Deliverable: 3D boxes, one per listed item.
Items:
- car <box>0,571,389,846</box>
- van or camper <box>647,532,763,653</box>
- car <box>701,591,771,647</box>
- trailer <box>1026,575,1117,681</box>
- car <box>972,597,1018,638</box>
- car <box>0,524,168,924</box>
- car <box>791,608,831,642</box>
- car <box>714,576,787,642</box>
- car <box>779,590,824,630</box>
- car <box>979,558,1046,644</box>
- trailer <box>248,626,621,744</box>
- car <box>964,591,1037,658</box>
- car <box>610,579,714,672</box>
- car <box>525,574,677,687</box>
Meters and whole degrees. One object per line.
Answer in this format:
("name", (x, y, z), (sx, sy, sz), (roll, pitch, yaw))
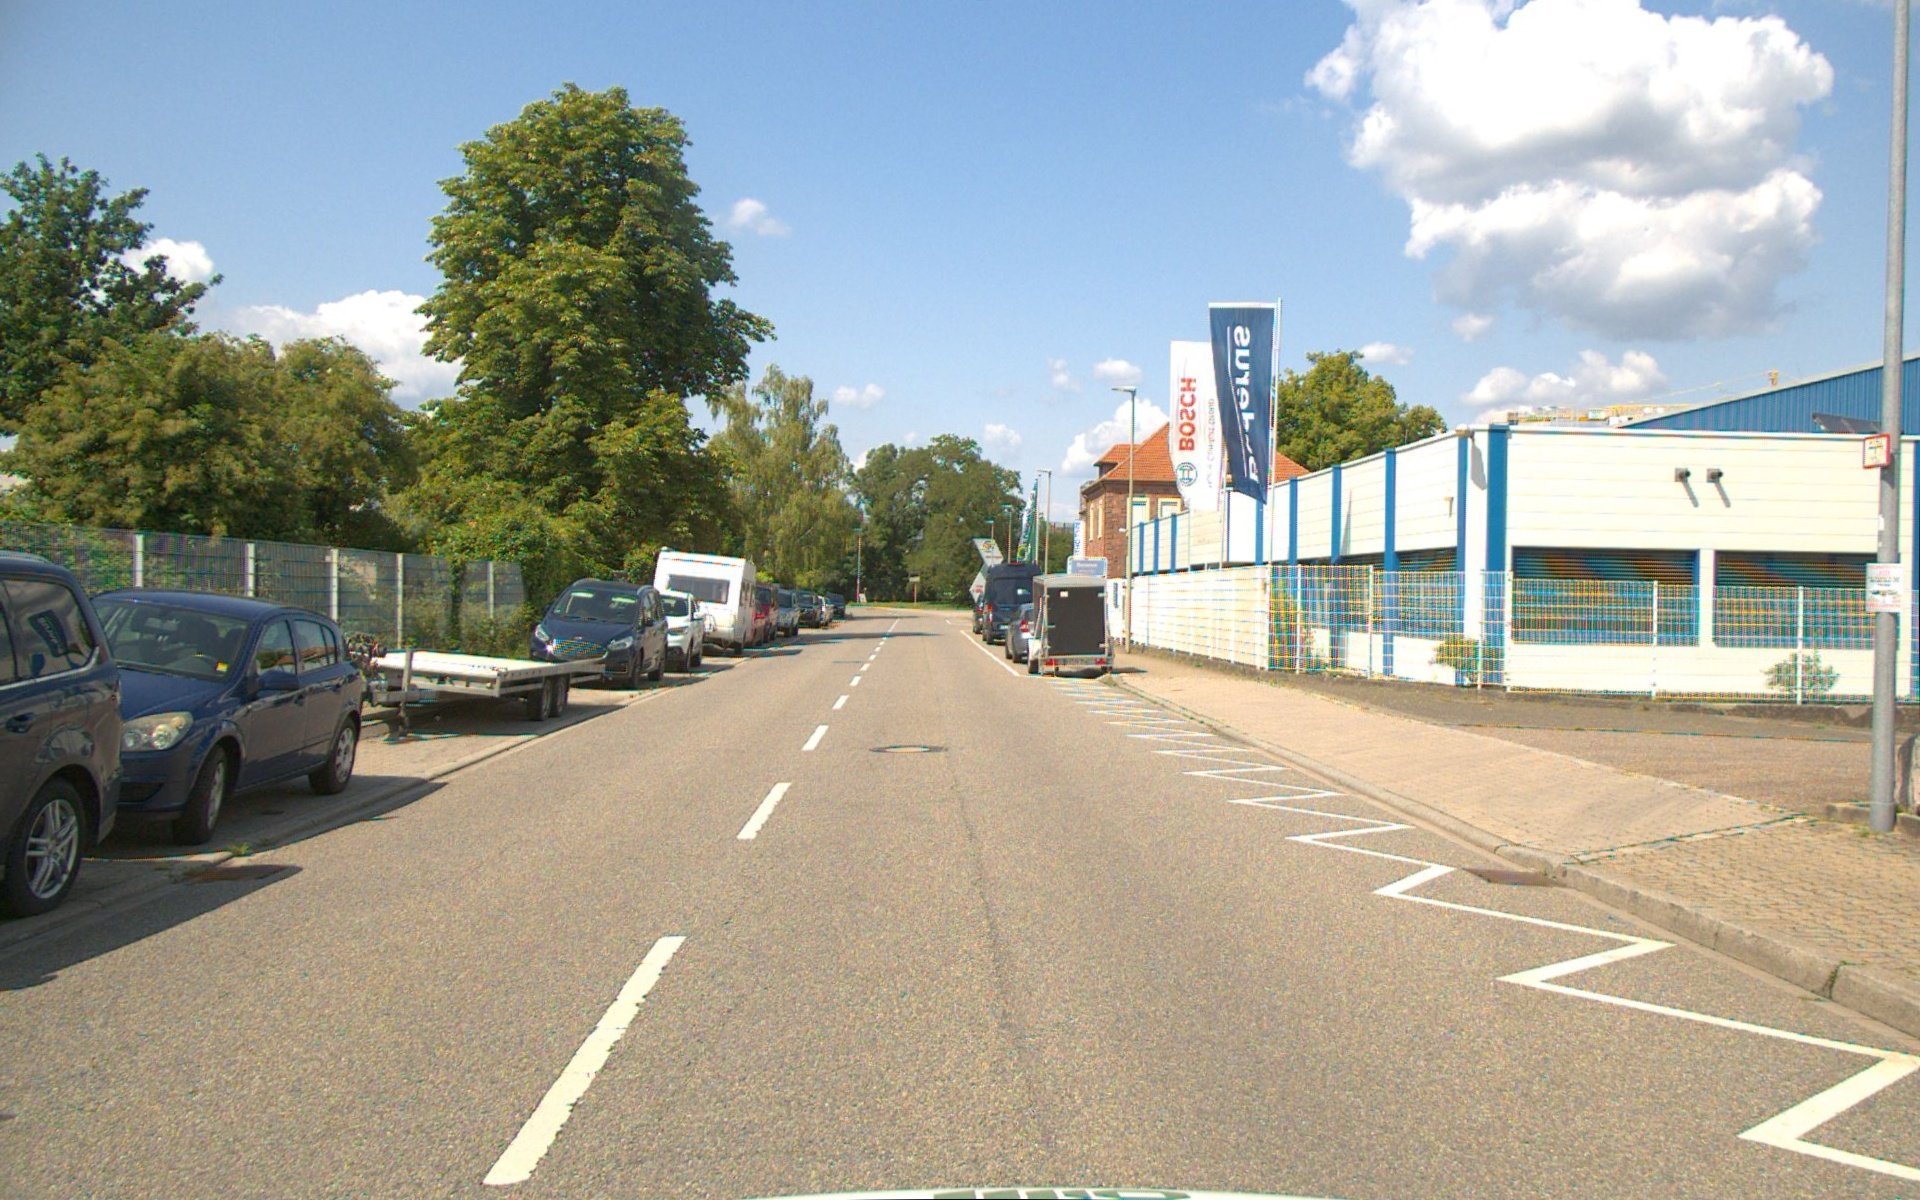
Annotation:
("car", (-5.392, 0.621, 11.536), (1.546, 1.539, 4.198), (2, 0, -4))
("van or camper", (-6.789, -0.168, 44.862), (2.218, 2.852, 6.829), (5, -1, -3))
("car", (-6.868, 0.571, 51.091), (1.592, 1.559, 4.267), (4, 0, -2))
("trailer", (2.291, 0.564, 34.532), (1.569, 2.073, 2.740), (2, 0, -2))
("car", (1.450, 0.714, 70.304), (1.788, 1.693, 4.554), (0, 0, -1))
("car", (-5.115, 0.537, 6.579), (1.765, 1.780, 4.711), (1, 0, -2))
("car", (-7.635, 1.258, 84.895), (1.665, 1.623, 4.786), (1, 0, -1))
("car", (-7.212, 0.329, 57.461), (1.861, 1.988, 4.956), (6, -1, -2))
("car", (-7.476, 0.456, 78.391), (1.578, 1.775, 4.636), (3, 0, 0))
("car", (1.769, 0.030, 58.092), (1.898, 2.796, 6.152), (2, 0, -2))
("trailer", (-5.977, 0.910, 20.102), (2.225, 0.898, 7.131), (6, 0, 0))
("car", (0.956, 0.592, 40.846), (1.540, 1.534, 4.131), (1, 0, -2))
("car", (-6.369, 0.524, 35.750), (1.651, 1.721, 4.440), (5, -1, -5))
("car", (-6.265, 0.501, 29.388), (1.790, 1.825, 4.733), (1, 0, -2))
